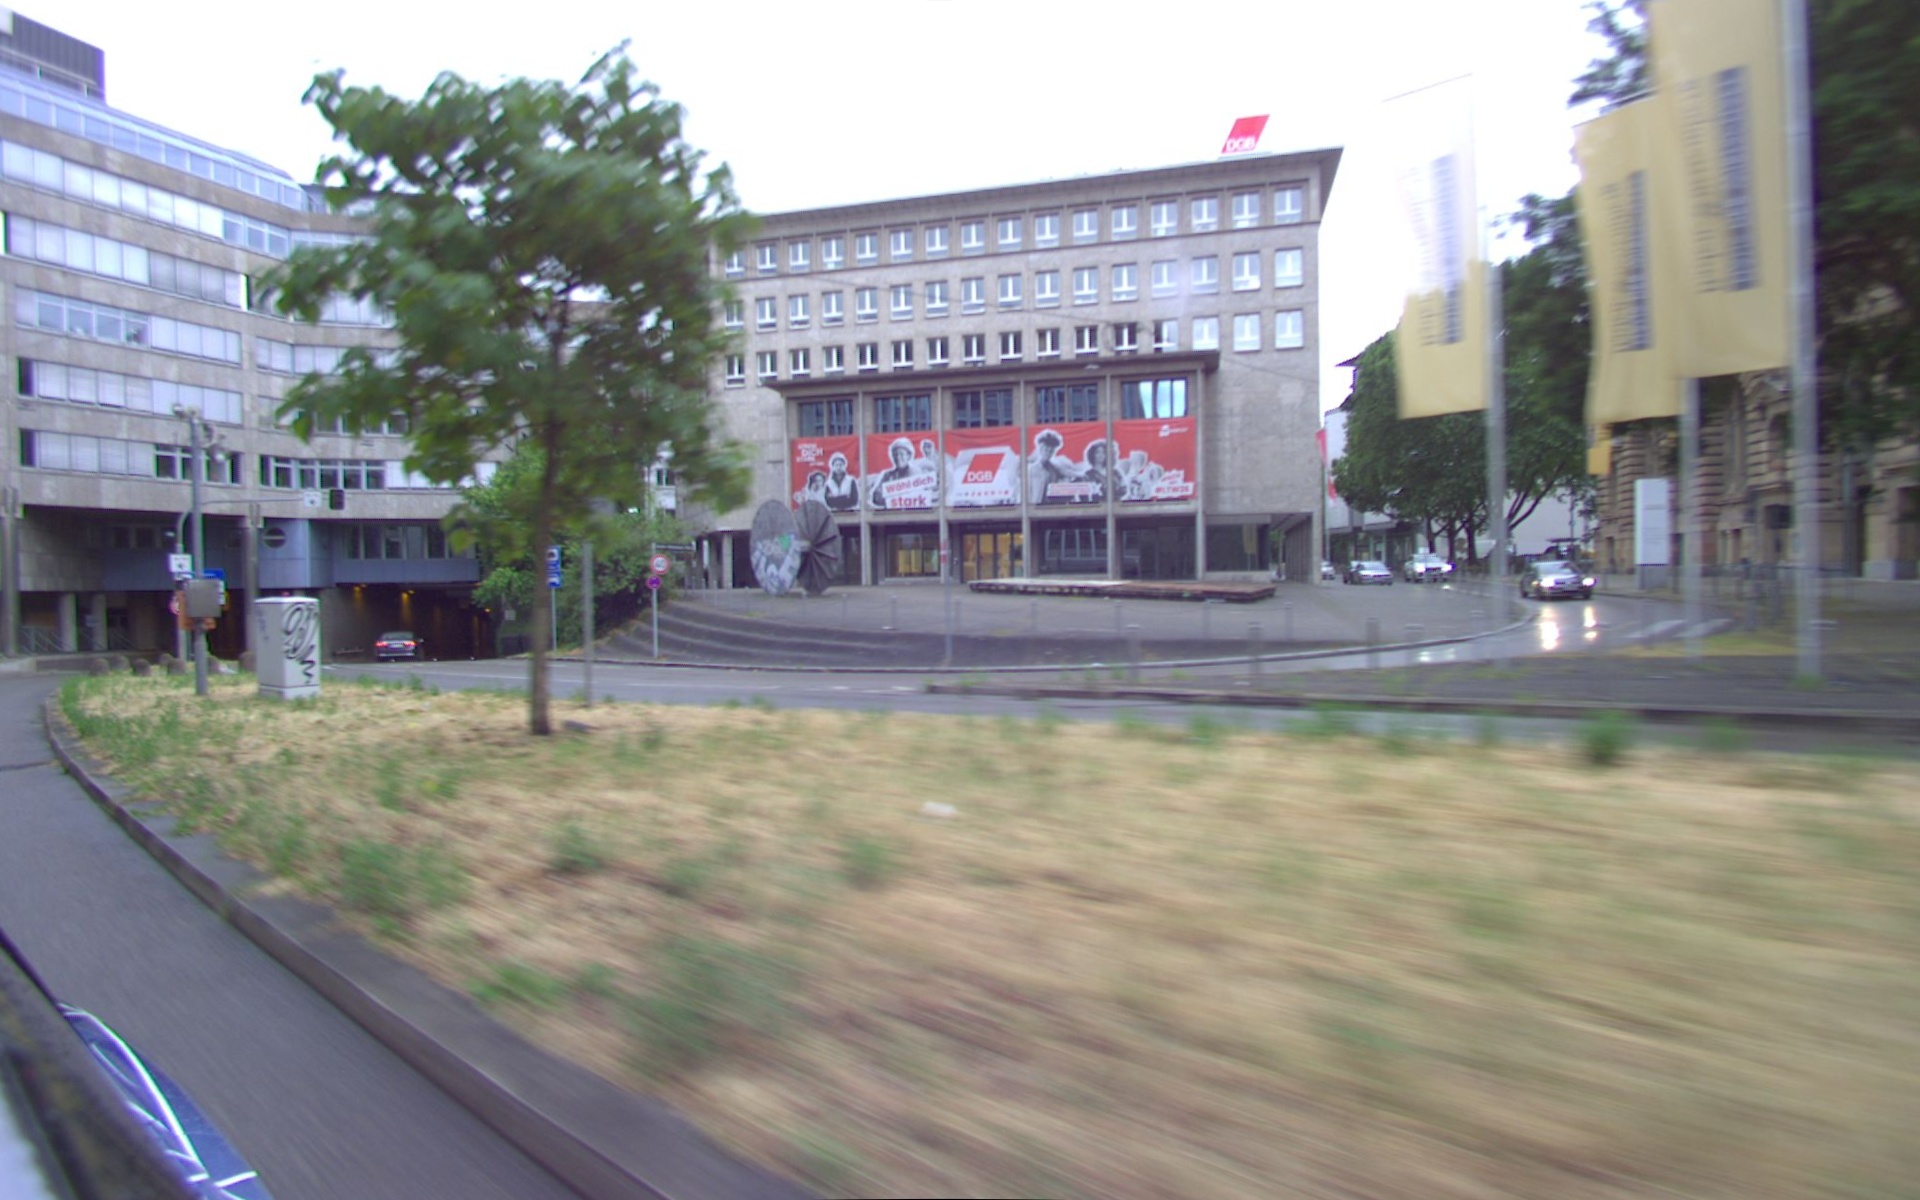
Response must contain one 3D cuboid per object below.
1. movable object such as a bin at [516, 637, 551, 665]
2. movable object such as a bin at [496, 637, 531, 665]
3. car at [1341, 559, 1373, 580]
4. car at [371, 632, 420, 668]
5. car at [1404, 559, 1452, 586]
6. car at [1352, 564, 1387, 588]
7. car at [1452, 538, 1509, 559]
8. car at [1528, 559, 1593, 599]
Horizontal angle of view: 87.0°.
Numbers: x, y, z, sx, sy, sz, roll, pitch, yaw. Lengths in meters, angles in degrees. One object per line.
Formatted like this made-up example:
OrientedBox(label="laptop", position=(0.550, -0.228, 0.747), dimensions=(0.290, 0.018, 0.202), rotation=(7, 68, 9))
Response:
OrientedBox(label="movable object such as a bin", position=(-23.453, 2.789, 55.645), dimensions=(1.199, 1.461, 1.287), rotation=(-2, -1, 21))
OrientedBox(label="movable object such as a bin", position=(-24.749, 2.819, 56.138), dimensions=(1.327, 1.461, 1.162), rotation=(-1, -1, 14))
OrientedBox(label="car", position=(24.994, -1.899, 63.828), dimensions=(1.606, 1.257, 3.602), rotation=(-2, 0, 18))
OrientedBox(label="car", position=(-27.131, 2.346, 48.618), dimensions=(1.966, 1.504, 4.857), rotation=(-1, -1, -30))
OrientedBox(label="car", position=(28.957, -1.693, 62.710), dimensions=(1.982, 1.568, 4.193), rotation=(-2, 1, 15))
OrientedBox(label="car", position=(23.459, -1.360, 58.047), dimensions=(1.606, 1.257, 3.600), rotation=(-2, 0, 19))
OrientedBox(label="car", position=(57.197, -5.613, 111.322), dimensions=(2.277, 1.971, 6.305), rotation=(-2, 0, -9))
OrientedBox(label="car", position=(22.842, -0.797, 38.606), dimensions=(1.609, 1.414, 3.594), rotation=(-2, 0, 23))
